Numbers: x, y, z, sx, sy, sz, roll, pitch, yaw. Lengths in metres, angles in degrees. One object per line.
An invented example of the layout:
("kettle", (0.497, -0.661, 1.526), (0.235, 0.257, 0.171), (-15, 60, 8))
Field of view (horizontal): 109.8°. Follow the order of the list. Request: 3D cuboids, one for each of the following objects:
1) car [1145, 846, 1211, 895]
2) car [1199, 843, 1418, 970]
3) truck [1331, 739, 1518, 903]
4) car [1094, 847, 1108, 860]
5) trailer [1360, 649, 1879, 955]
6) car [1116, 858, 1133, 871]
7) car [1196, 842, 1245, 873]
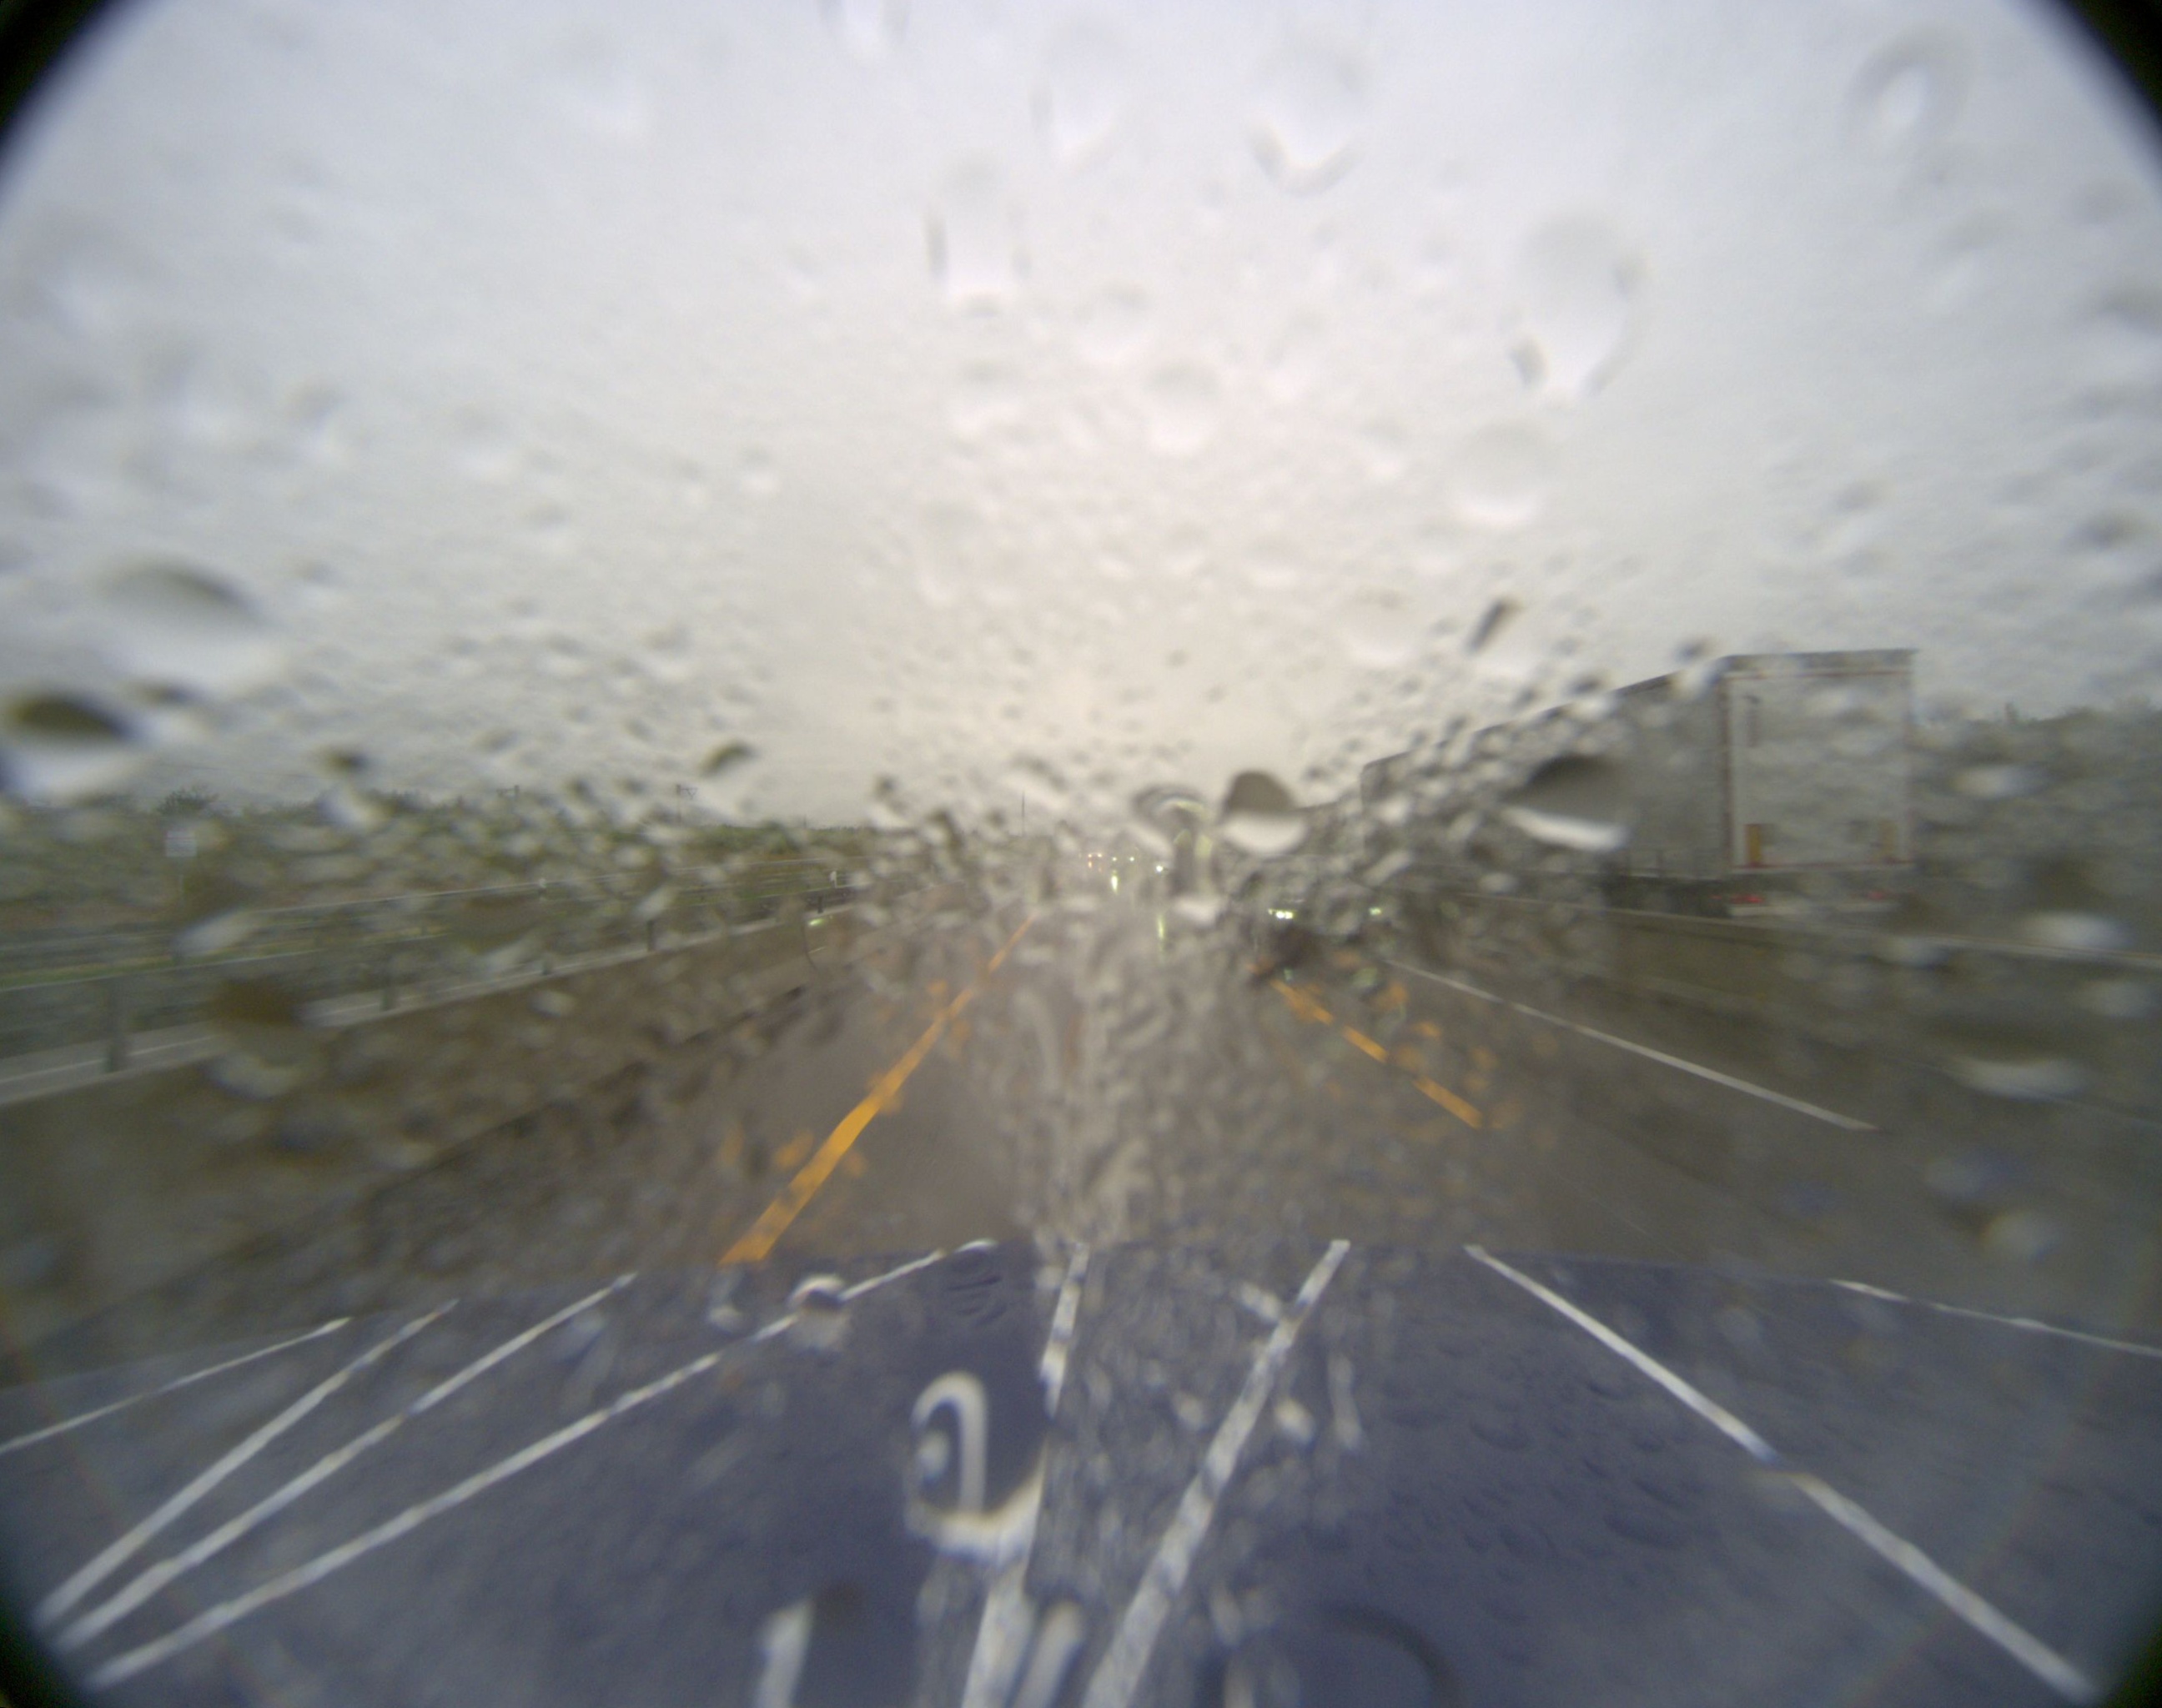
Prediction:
("car", (3.620, 0.564, 28.952), (1.971, 1.670, 3.999), (-2, 1, 0))
("car", (3.176, 0.625, 11.764), (1.944, 1.519, 4.795), (-2, 1, 0))
("truck", (10.202, -0.938, 23.484), (2.715, 4.253, 6.748), (-2, 1, 1))
("car", (2.936, -0.151, 111.200), (1.998, 1.762, 3.999), (-2, 1, 0))
("trailer", (10.078, -0.846, 17.346), (2.693, 4.253, 13.069), (-2, 1, 1))
("car", (3.729, 0.893, 65.795), (1.335, 1.105, 3.199), (1, 0, 1))
("car", (7.498, 0.168, 41.300), (1.897, 1.476, 3.999), (-3, 1, 1))
